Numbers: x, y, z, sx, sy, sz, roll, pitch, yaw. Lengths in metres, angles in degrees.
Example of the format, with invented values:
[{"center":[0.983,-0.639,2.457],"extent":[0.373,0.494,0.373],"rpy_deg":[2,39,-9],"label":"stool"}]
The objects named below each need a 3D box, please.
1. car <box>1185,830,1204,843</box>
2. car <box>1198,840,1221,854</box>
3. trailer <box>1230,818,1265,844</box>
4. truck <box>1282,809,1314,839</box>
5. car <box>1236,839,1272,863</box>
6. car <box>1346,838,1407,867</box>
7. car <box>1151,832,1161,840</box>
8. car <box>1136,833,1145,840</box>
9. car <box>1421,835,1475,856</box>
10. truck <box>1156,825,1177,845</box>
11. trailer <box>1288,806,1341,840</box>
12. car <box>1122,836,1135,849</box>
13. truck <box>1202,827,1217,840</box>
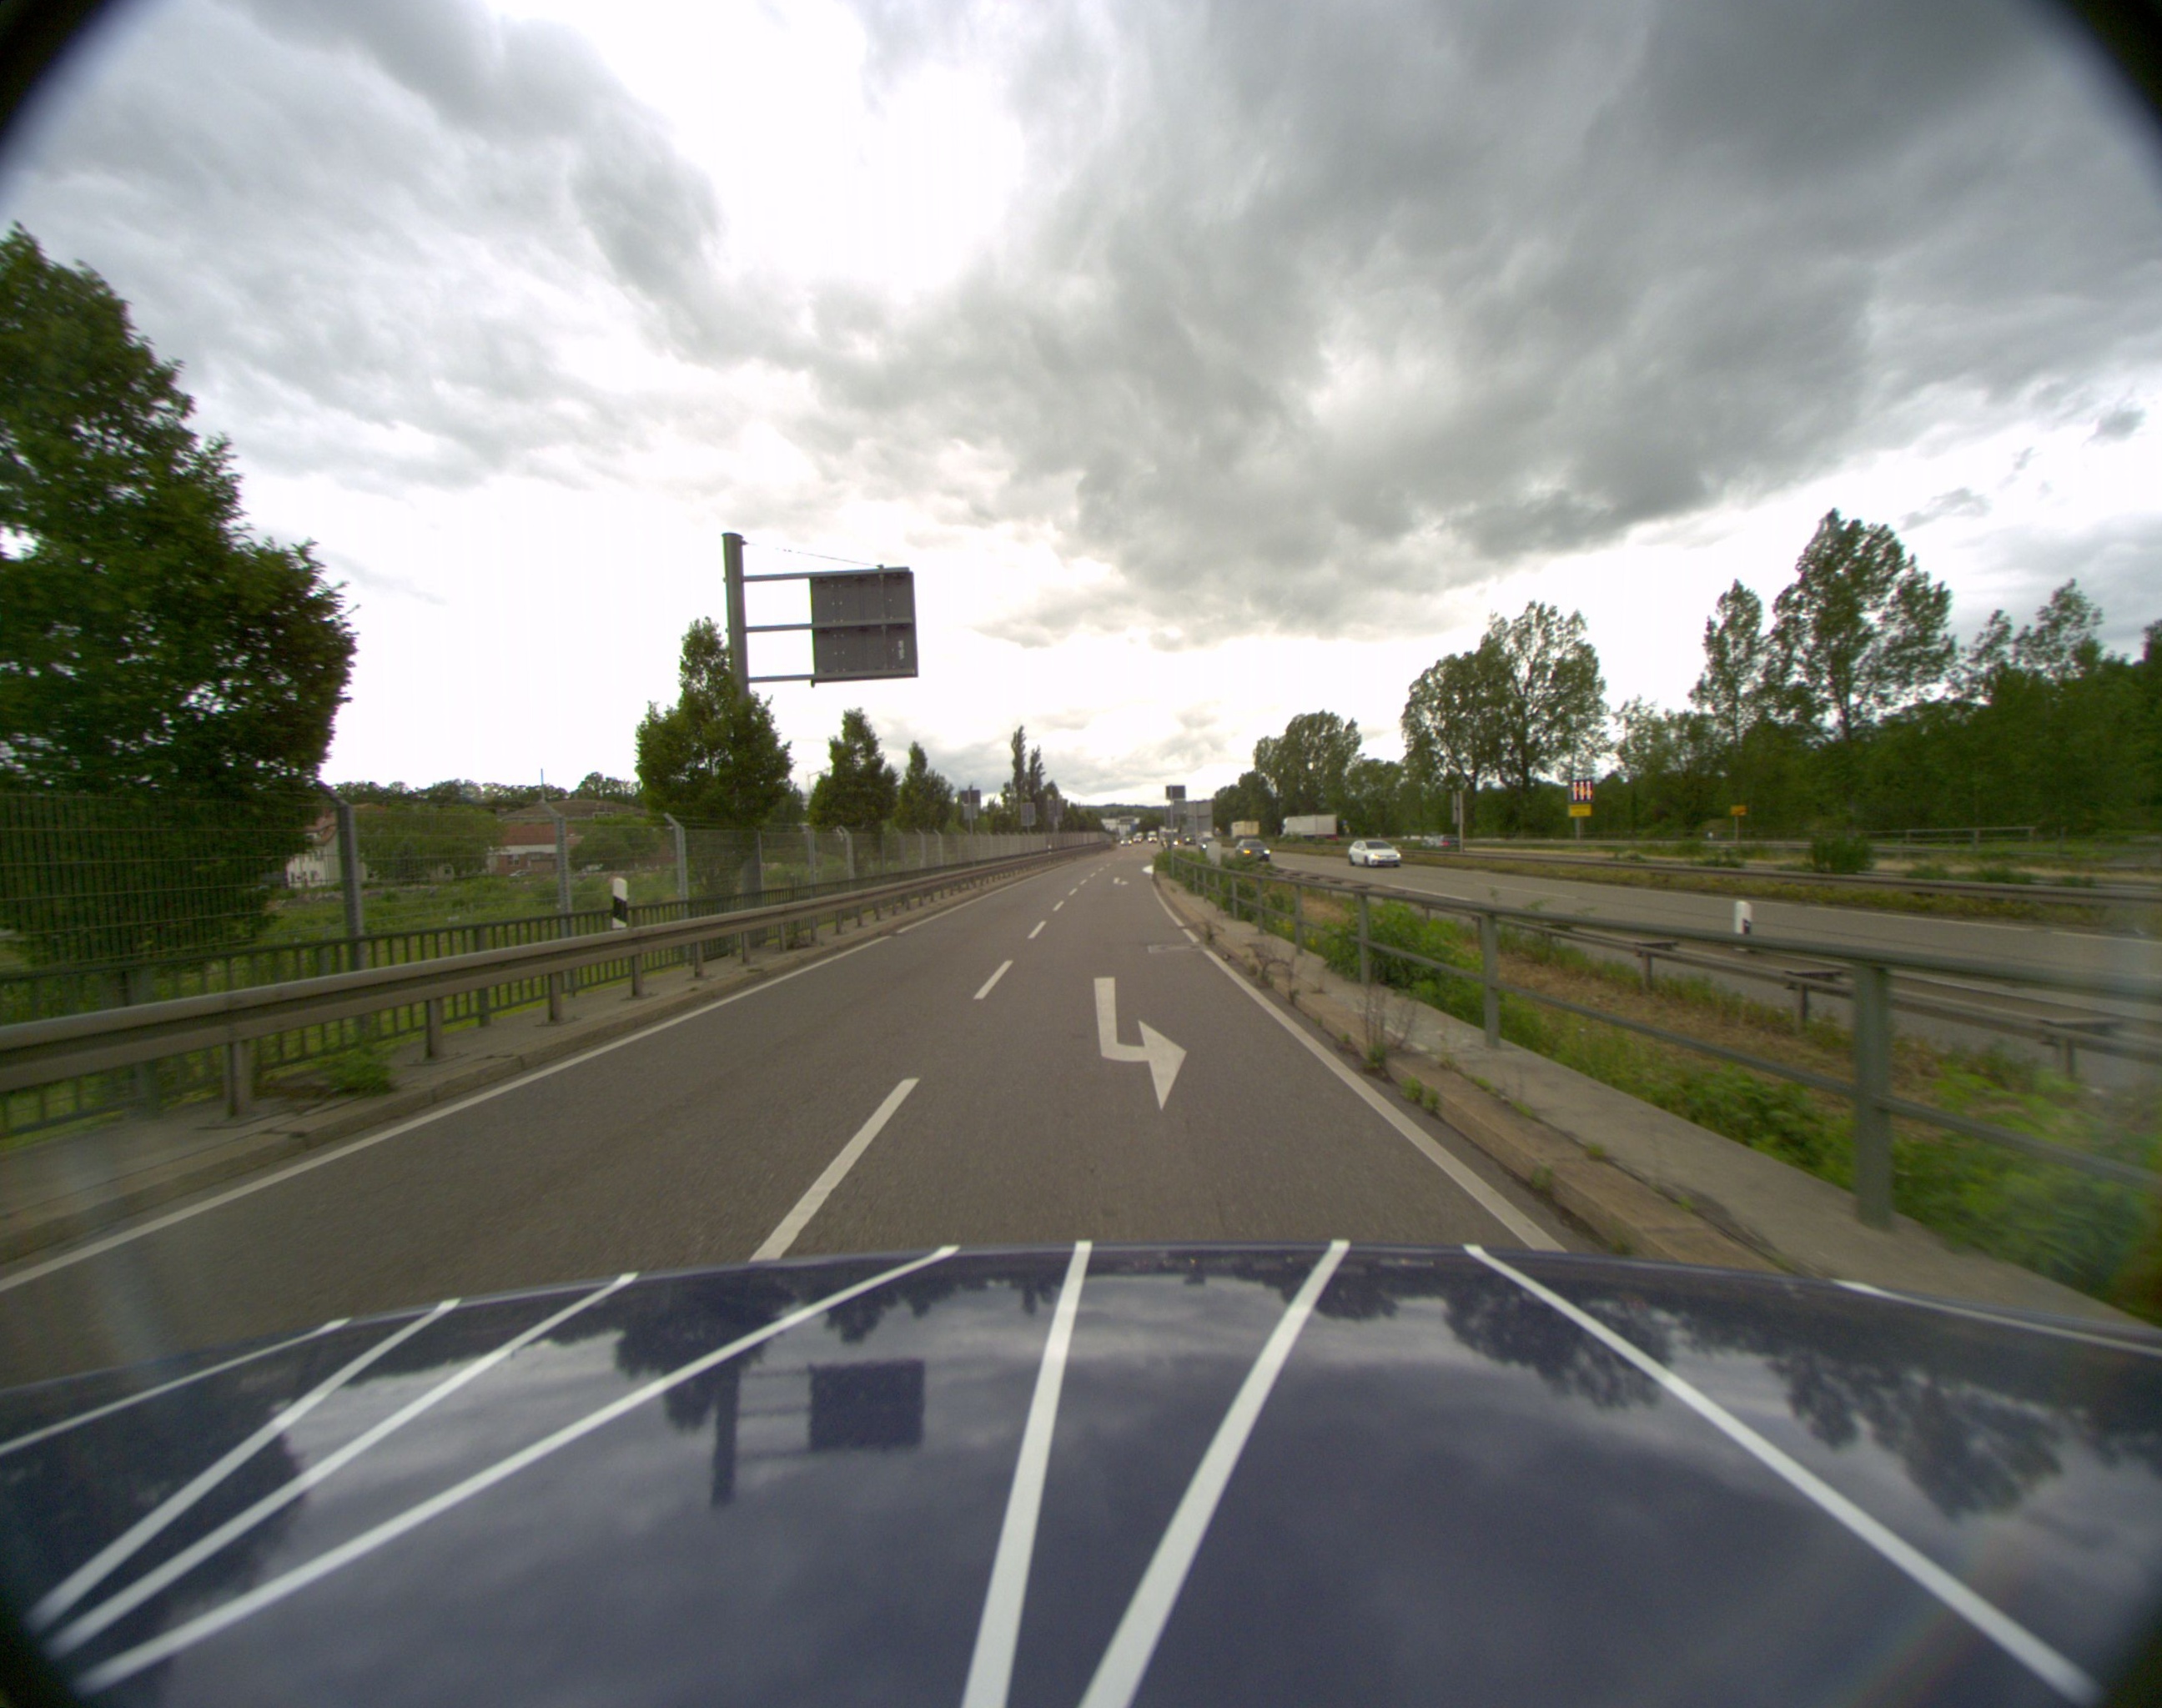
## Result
[{"center":[18.348,-2.871,123.444],"extent":[2.099,2.003,5.336],"rpy_deg":[-1,2,-2],"label":"car"},{"center":[13.225,-0.760,78.616],"extent":[1.728,1.319,3.647],"rpy_deg":[-1,1,0],"label":"car"},{"center":[31.781,-4.346,145.857],"extent":[3.472,4.647,14.778],"rpy_deg":[-2,1,1],"label":"trailer"},{"center":[30.303,-4.210,106.336],"extent":[2.796,3.915,5.311],"rpy_deg":[-3,2,1],"label":"truck"},{"center":[11.610,-0.227,51.319],"extent":[1.939,1.492,4.305],"rpy_deg":[-1,1,7],"label":"car"},{"center":[16.116,-0.119,41.647],"extent":[1.859,1.491,3.999],"rpy_deg":[-1,1,1],"label":"car"},{"center":[18.070,-4.294,183.425],"extent":[1.998,2.002,3.999],"rpy_deg":[-1,1,1],"label":"car"},{"center":[14.490,-4.244,184.699],"extent":[1.998,1.711,3.999],"rpy_deg":[-1,1,1],"label":"car"},{"center":[26.255,-0.619,54.469],"extent":[1.998,1.427,3.999],"rpy_deg":[-1,1,1],"label":"car"},{"center":[13.968,-3.164,124.692],"extent":[3.039,3.141,7.567],"rpy_deg":[-1,2,3],"label":"truck"},{"center":[30.185,-3.975,99.045],"extent":[2.797,3.927,13.509],"rpy_deg":[-3,2,1],"label":"trailer"},{"center":[8.217,-2.043,131.914],"extent":[1.997,2.002,4.000],"rpy_deg":[-2,2,7],"label":"car"},{"center":[36.966,-5.929,218.751],"extent":[2.990,3.623,6.335],"rpy_deg":[-4,1,-2],"label":"truck"}]
